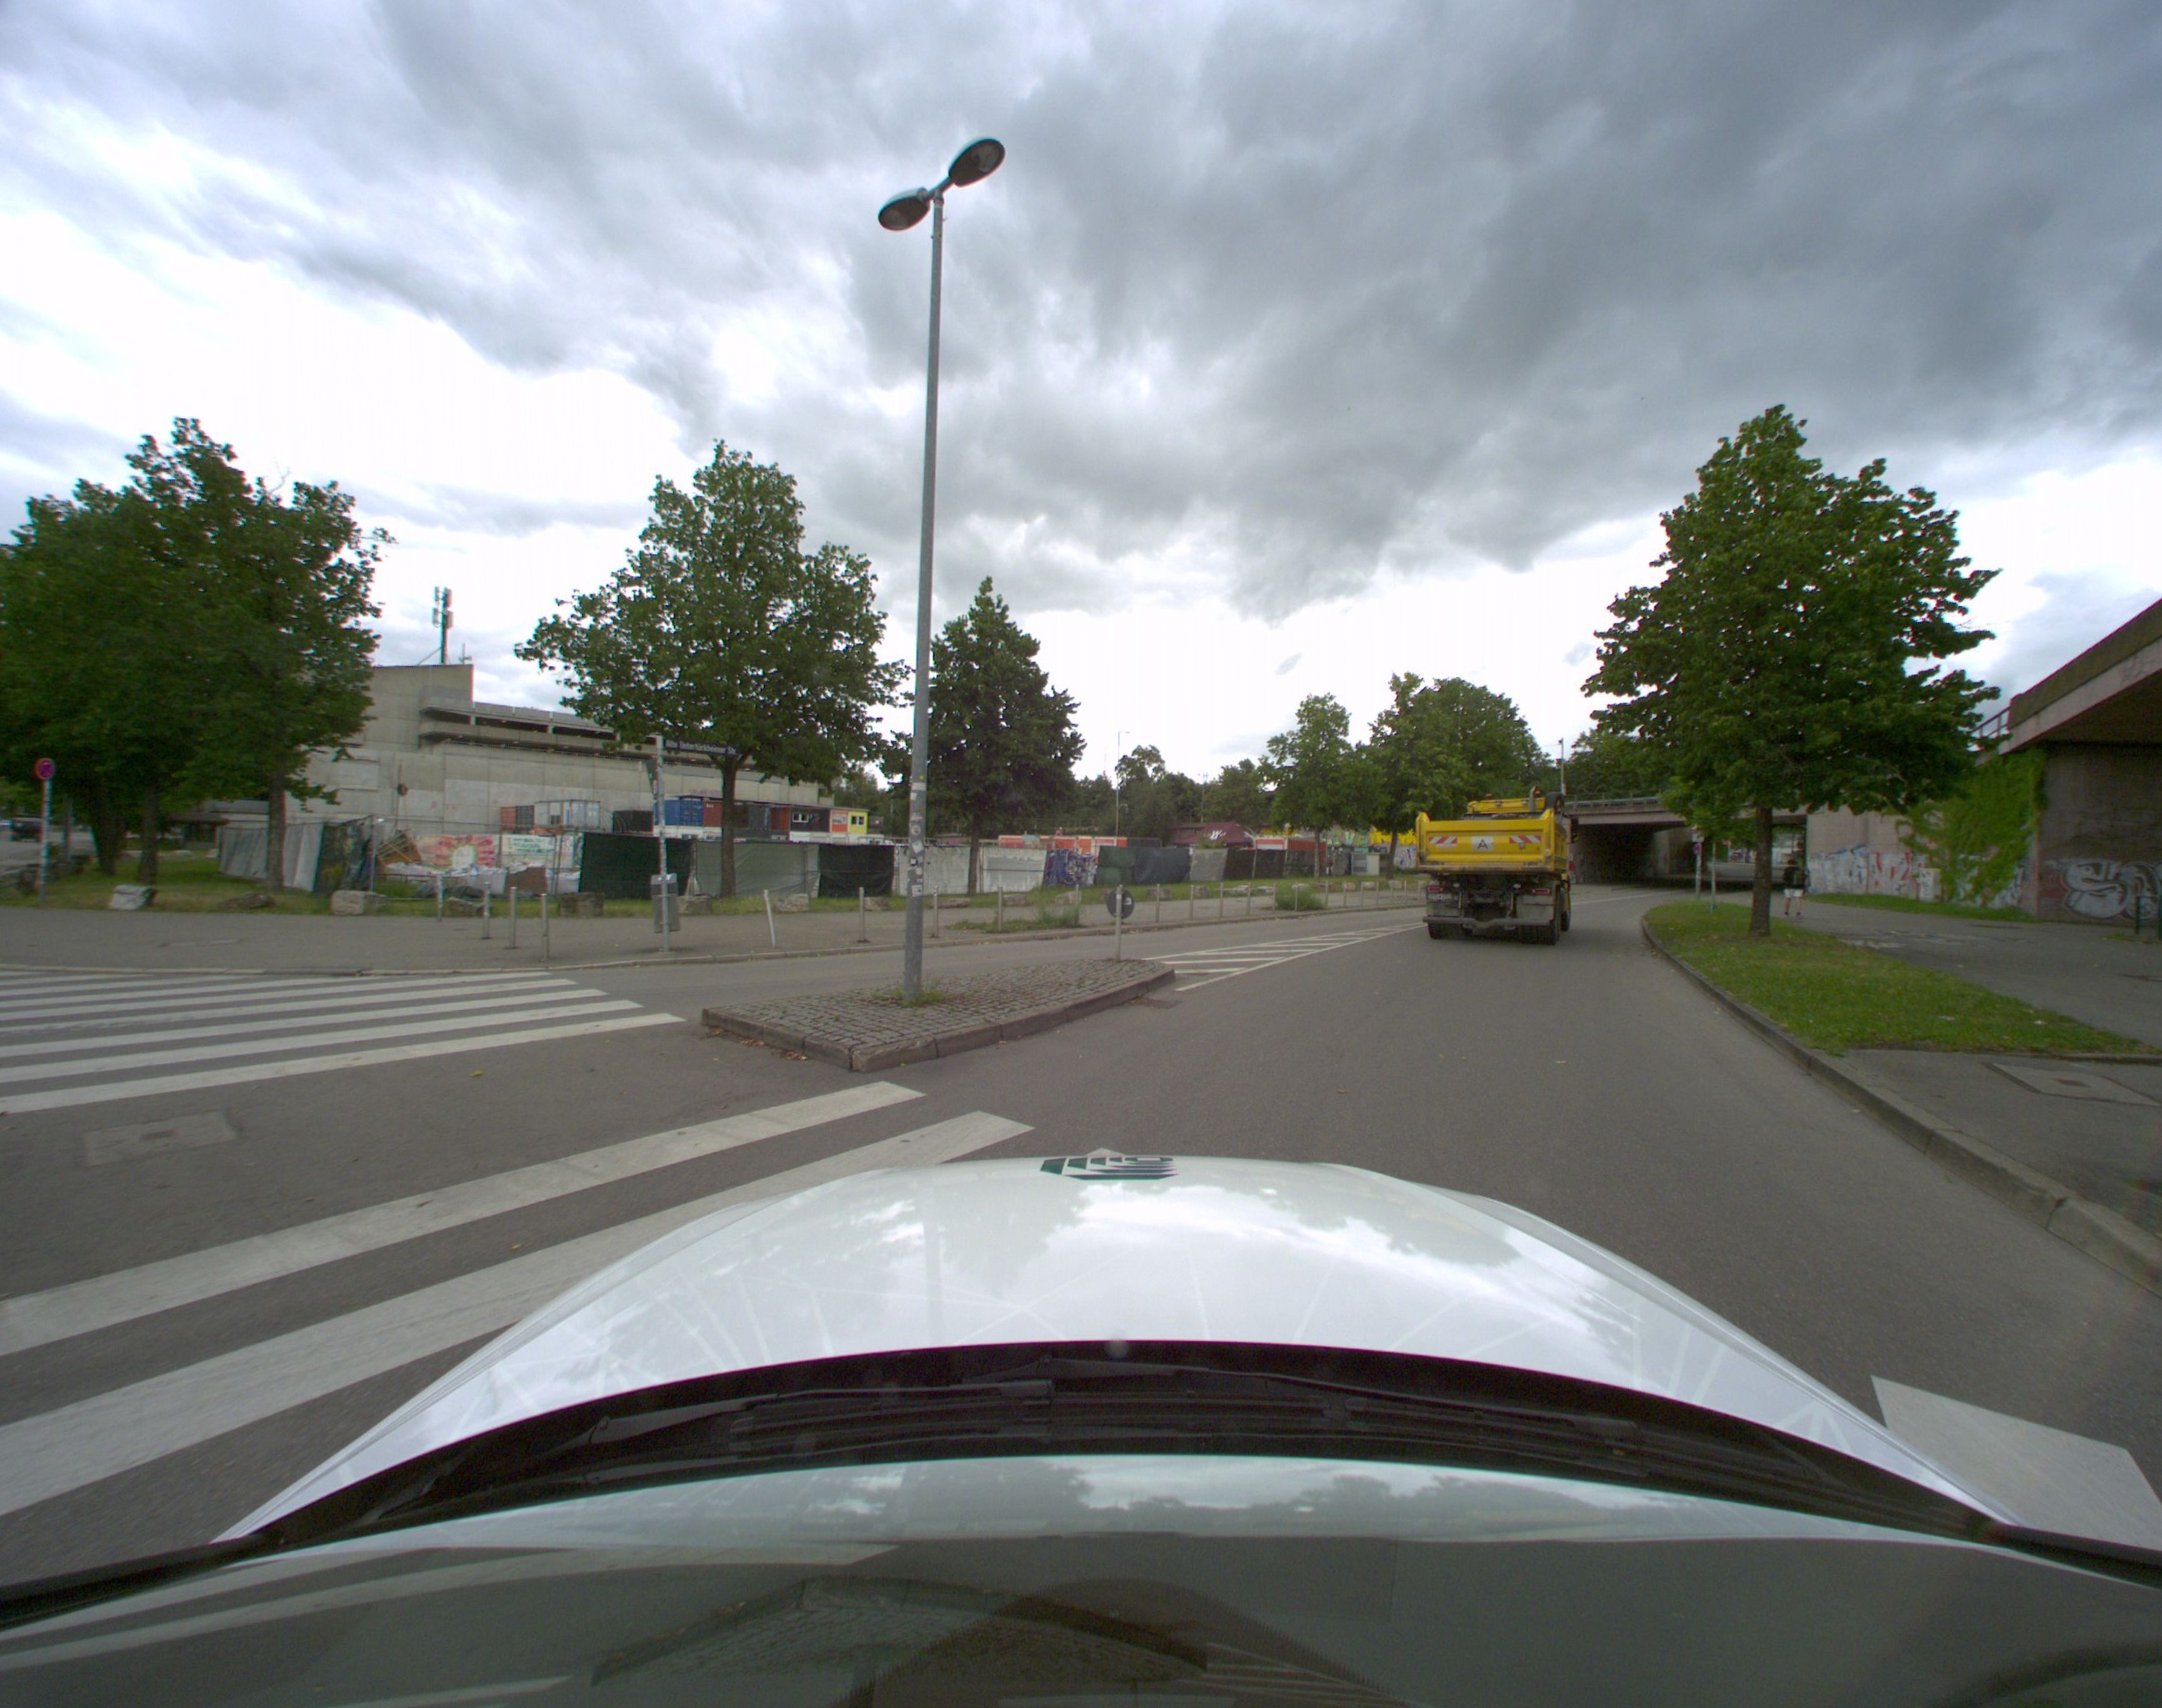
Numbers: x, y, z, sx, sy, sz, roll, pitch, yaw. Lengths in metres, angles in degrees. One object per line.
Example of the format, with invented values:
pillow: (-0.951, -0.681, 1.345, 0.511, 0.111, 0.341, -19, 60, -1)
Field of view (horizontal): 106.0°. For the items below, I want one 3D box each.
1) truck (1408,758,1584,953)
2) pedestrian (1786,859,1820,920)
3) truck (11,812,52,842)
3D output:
truck: (10.187, 0.064, 19.455, 2.731, 3.698, 7.929, 1, 0, 34)
pedestrian: (23.262, 1.117, 26.253, 0.727, 1.907, 0.830, 1, 0, 36)
truck: (-129.532, -3.314, 100.559, 7.822, 3.558, 2.699, 0, 2, 40)
